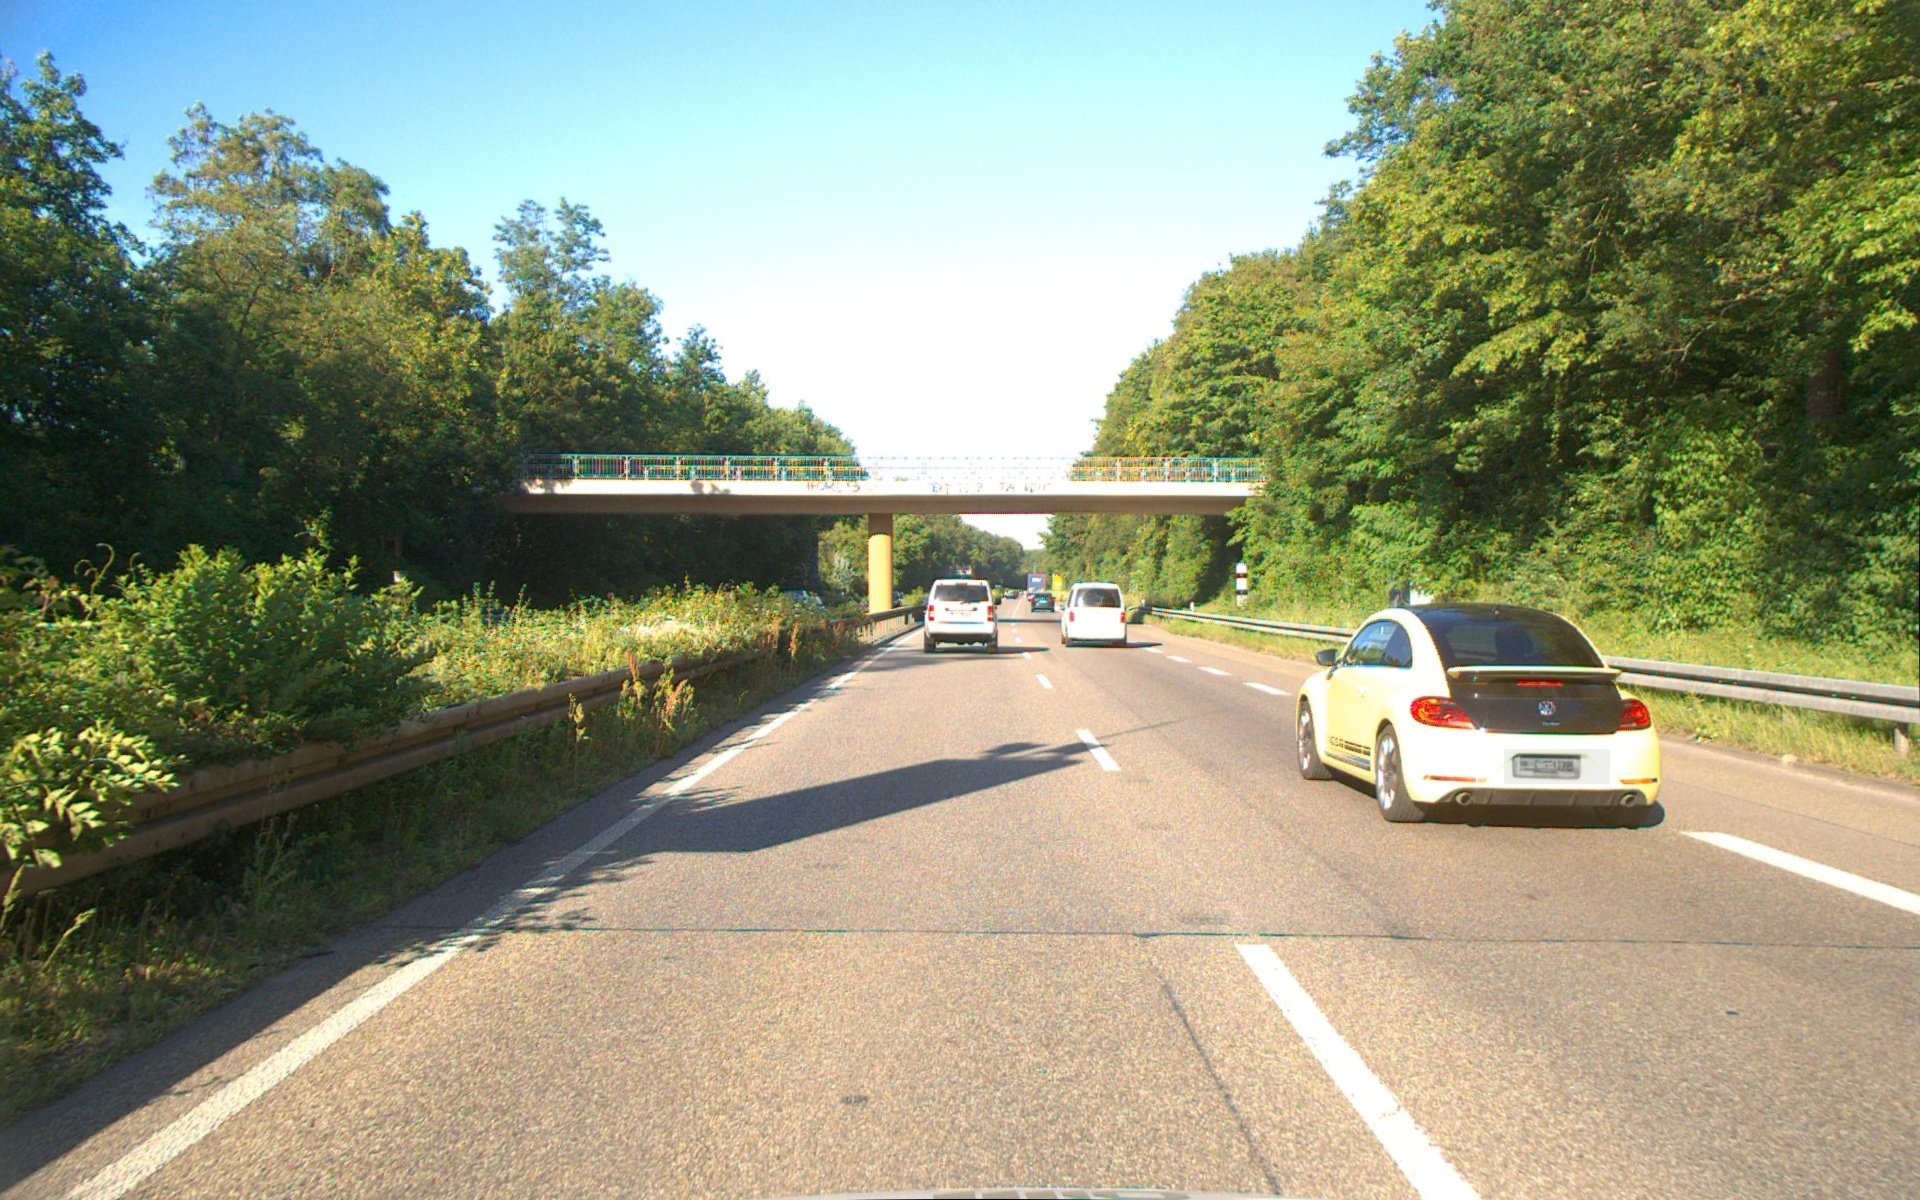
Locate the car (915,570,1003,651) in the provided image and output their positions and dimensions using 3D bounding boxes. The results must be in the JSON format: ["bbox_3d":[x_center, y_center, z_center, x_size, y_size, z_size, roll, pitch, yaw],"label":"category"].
[{"bbox_3d":[-0.075,0.236,41.453,2.043,1.860,3.999,1,0,-2],"label":"car"}]

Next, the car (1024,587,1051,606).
[{"bbox_3d":[5.777,-0.265,123.907,1.952,1.422,4.001,0,0,2],"label":"car"}]

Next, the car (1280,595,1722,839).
[{"bbox_3d":[3.815,0.727,12.536,1.841,1.487,4.355,1,0,-1],"label":"car"}]

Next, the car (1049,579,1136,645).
[{"bbox_3d":[3.774,0.303,47.888,1.827,1.801,4.466,-1,0,-4],"label":"car"}]

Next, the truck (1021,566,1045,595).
[{"bbox_3d":[10.906,-2.860,247.986,3.423,4.245,8.864,0,0,2],"label":"truck"}]

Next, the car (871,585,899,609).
[{"bbox_3d":[-5.797,-0.253,128.282,1.920,1.754,4.593,-1,0,1],"label":"car"}]
